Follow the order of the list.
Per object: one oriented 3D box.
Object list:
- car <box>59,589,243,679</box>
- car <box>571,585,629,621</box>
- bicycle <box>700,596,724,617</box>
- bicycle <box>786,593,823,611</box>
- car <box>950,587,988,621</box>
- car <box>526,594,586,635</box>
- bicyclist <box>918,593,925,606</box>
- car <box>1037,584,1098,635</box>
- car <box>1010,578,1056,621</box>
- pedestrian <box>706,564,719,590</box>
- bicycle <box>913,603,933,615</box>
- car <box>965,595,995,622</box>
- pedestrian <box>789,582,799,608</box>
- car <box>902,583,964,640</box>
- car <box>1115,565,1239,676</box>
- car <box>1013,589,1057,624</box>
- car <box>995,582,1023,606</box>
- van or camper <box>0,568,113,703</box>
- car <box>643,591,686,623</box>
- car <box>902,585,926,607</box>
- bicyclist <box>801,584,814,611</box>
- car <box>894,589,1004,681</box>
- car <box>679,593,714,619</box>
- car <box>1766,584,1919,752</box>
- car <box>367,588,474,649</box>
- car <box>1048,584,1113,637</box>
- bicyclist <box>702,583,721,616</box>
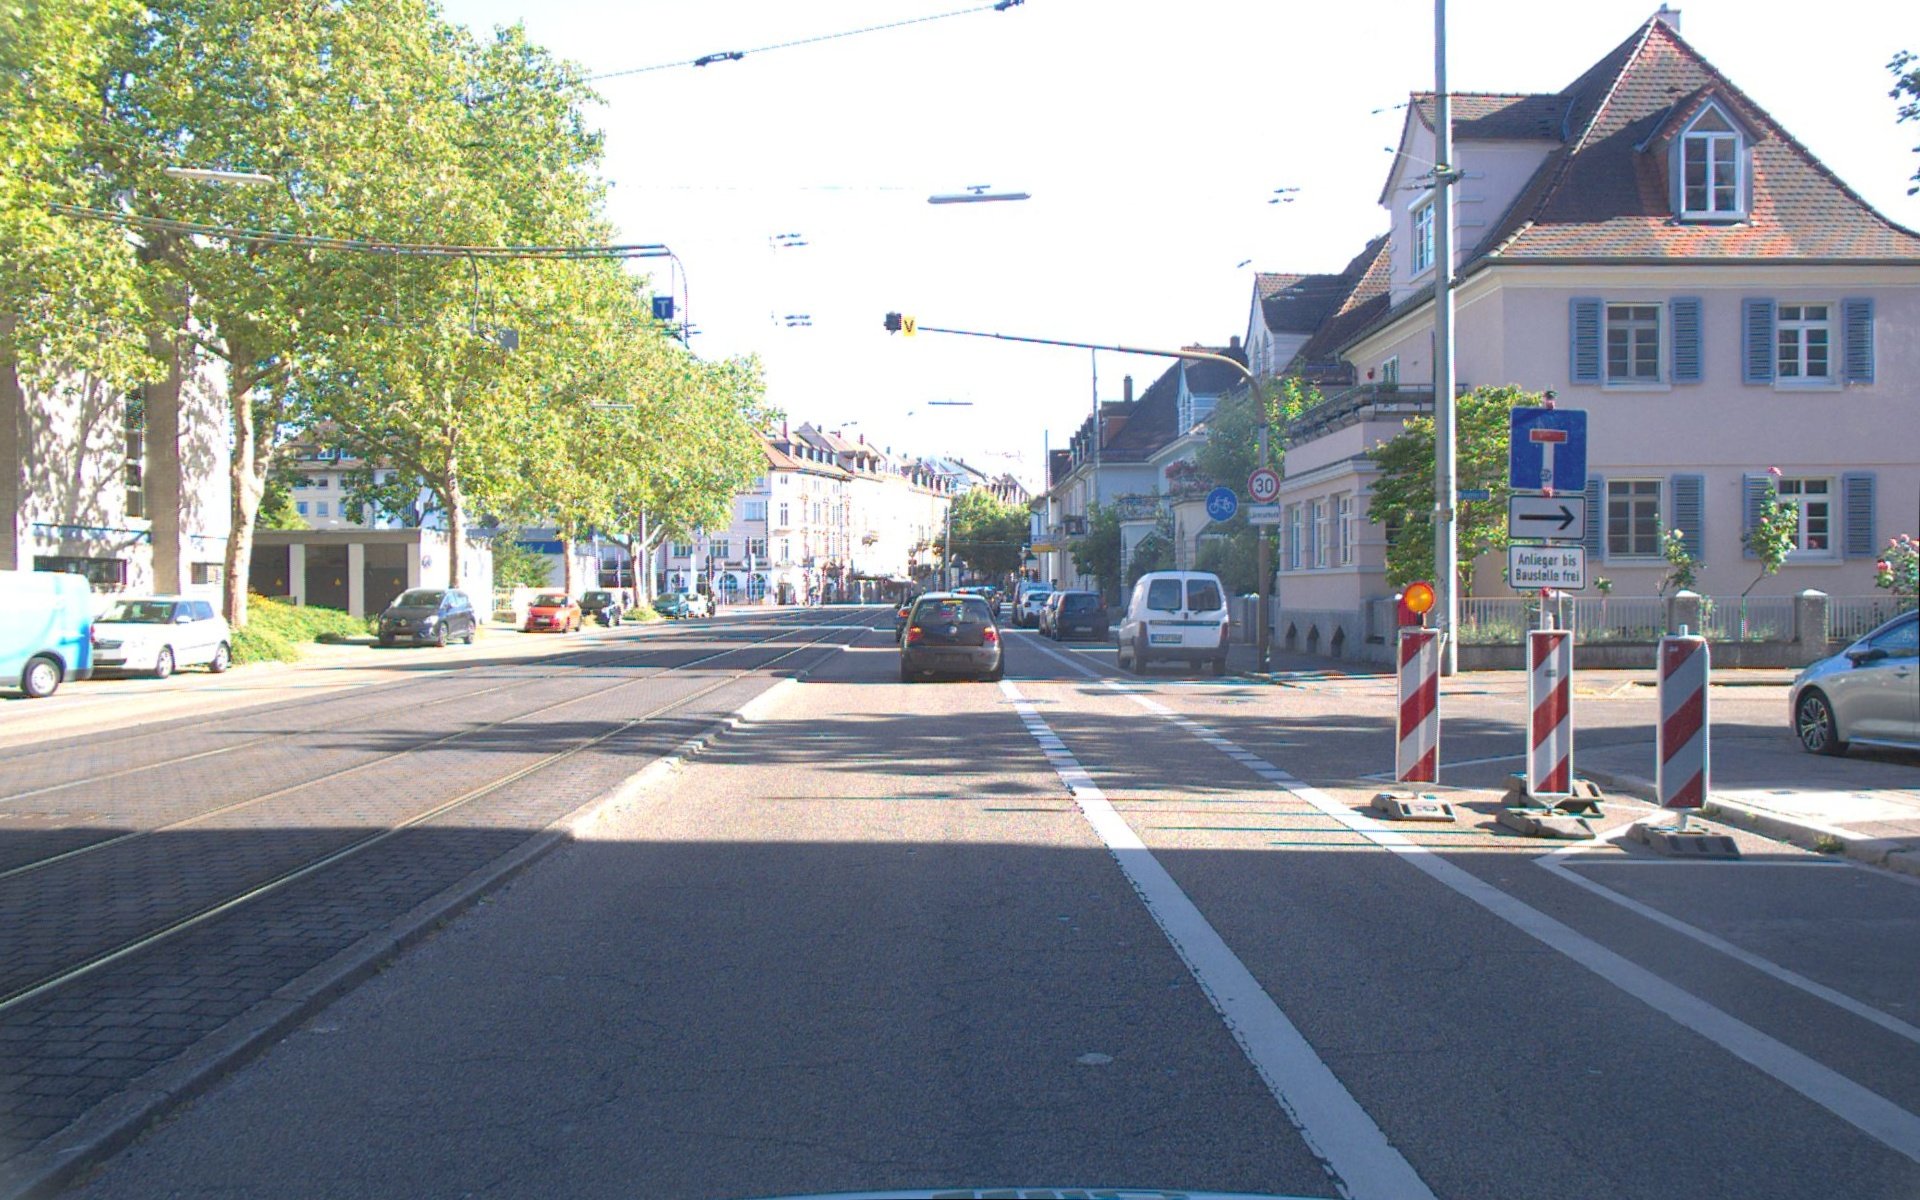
[{"bbox_3d":[-15.381,0.596,31.667,1.542,1.533,4.089,1,1,-1],"label":"car"},{"bbox_3d":[-16.126,0.114,74.273,1.756,1.491,3.835,2,0,-1],"label":"car"},{"bbox_3d":[-13.921,0.350,92.754,0.895,1.102,3.202,1,1,-1],"label":"bicycle"},{"bbox_3d":[-11.863,0.181,126.147,2.687,1.284,0.706,1,1,-2],"label":"bicycle"},{"bbox_3d":[0.377,0.160,74.795,1.603,1.498,3.728,0,0,-1],"label":"car"},{"bbox_3d":[-15.858,0.566,64.999,1.538,1.560,3.571,0,0,-1],"label":"car"},{"bbox_3d":[-3.943,-0.035,168.748,0.668,1.360,0.922,1,1,-5],"label":"bicyclist"},{"bbox_3d":[3.491,0.279,54.491,1.713,1.564,3.955,-1,1,-1],"label":"car"},{"bbox_3d":[3.189,-0.055,72.699,1.780,1.830,3.999,0,0,-1],"label":"car"},{"bbox_3d":[-25.378,-2.358,169.902,1.199,2.585,1.349,1,1,-6],"label":"pedestrian"},{"bbox_3d":[-3.768,0.882,168.754,2.046,1.160,0.921,1,1,-5],"label":"bicycle"},{"bbox_3d":[1.111,0.478,95.039,1.603,1.498,3.729,0,0,-1],"label":"car"},{"bbox_3d":[-17.332,-0.493,172.846,0.937,2.705,1.098,1,0,-3],"label":"pedestrian"},{"bbox_3d":[-0.766,0.308,48.172,1.713,1.564,3.891,-1,1,-1],"label":"car"},{"bbox_3d":[3.915,0.329,30.336,1.723,1.870,3.547,1,1,-1],"label":"car"},{"bbox_3d":[3.067,0.235,67.837,1.548,1.399,3.999,0,0,-1],"label":"car"},{"bbox_3d":[3.114,-0.421,105.527,1.603,1.498,3.728,0,0,-1],"label":"car"},{"bbox_3d":[-15.292,0.509,24.207,2.017,1.983,5.191,2,1,19],"label":"van or camper"},{"bbox_3d":[-16.750,0.398,93.842,1.846,1.698,3.803,1,1,-2],"label":"car"},{"bbox_3d":[-3.082,-0.286,111.910,1.603,1.498,3.728,1,0,-1],"label":"car"},{"bbox_3d":[-11.638,-0.218,126.142,0.858,2.044,0.706,1,0,-1],"label":"bicyclist"},{"bbox_3d":[-0.253,0.534,28.000,1.713,1.399,3.998,-1,1,-2],"label":"car"},{"bbox_3d":[-15.957,0.338,100.238,1.603,1.498,3.728,0,0,-1],"label":"car"},{"bbox_3d":[8.894,0.557,14.083,1.668,1.413,4.513,-1,-2,-3],"label":"car"},{"bbox_3d":[-15.709,0.494,48.364,1.849,1.695,3.999,0,0,-1],"label":"car"},{"bbox_3d":[3.611,0.291,50.091,1.627,1.552,4.035,0,0,-1],"label":"car"},{"bbox_3d":[-13.917,-0.031,92.731,0.895,1.865,0.960,1,1,-1],"label":"bicyclist"}]
